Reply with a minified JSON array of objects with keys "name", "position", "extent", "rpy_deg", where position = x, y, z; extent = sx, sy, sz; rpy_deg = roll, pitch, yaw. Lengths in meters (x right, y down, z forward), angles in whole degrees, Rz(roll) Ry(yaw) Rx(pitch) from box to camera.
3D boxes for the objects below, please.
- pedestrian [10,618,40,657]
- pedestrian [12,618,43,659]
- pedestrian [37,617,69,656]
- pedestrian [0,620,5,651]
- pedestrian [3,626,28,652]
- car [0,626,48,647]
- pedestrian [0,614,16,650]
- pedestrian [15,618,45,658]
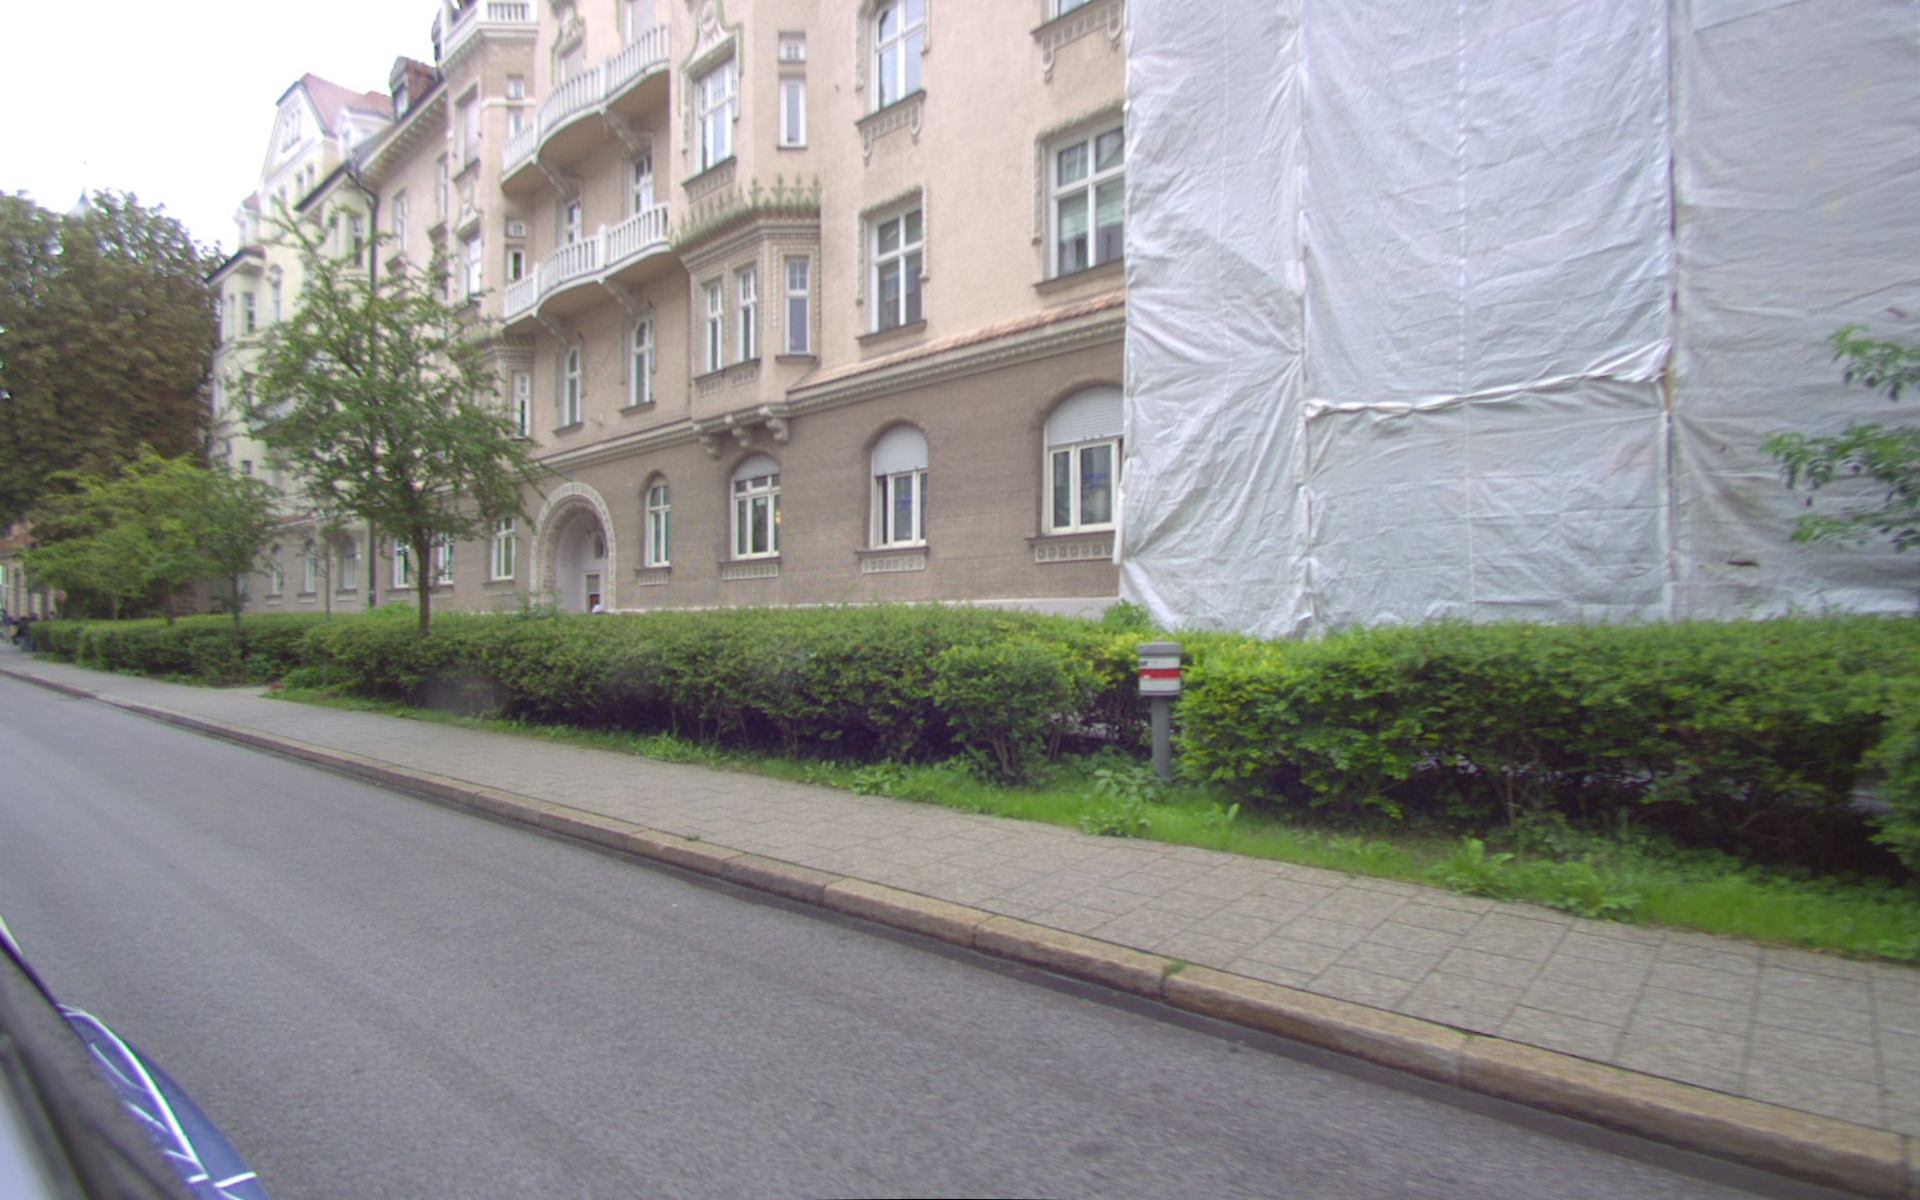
[{"name":"pedestrian","position":[-42.393,1.704,45.877],"extent":[0.910,1.758,0.864],"rpy_deg":[-1,-2,41]},{"name":"pedestrian","position":[-41.137,1.687,44.657],"extent":[0.846,1.758,0.898],"rpy_deg":[-1,-2,40]},{"name":"pedestrian","position":[-41.860,1.678,46.704],"extent":[0.773,1.758,0.878],"rpy_deg":[1,-2,-17]},{"name":"pedestrian","position":[-64.303,2.350,67.317],"extent":[0.938,2.029,1.399],"rpy_deg":[1,-2,-39]},{"name":"pedestrian","position":[-48.556,2.006,52.011],"extent":[0.753,1.351,0.820],"rpy_deg":[-1,-2,39]},{"name":"car","position":[-69.038,2.645,73.202],"extent":[1.997,1.530,4.225],"rpy_deg":[-1,-2,37]},{"name":"pedestrian","position":[-54.244,1.793,57.288],"extent":[0.769,2.029,0.831],"rpy_deg":[0,-1,-2]},{"name":"pedestrian","position":[-41.677,1.686,45.347],"extent":[0.786,1.758,0.864],"rpy_deg":[-1,-2,40]}]
